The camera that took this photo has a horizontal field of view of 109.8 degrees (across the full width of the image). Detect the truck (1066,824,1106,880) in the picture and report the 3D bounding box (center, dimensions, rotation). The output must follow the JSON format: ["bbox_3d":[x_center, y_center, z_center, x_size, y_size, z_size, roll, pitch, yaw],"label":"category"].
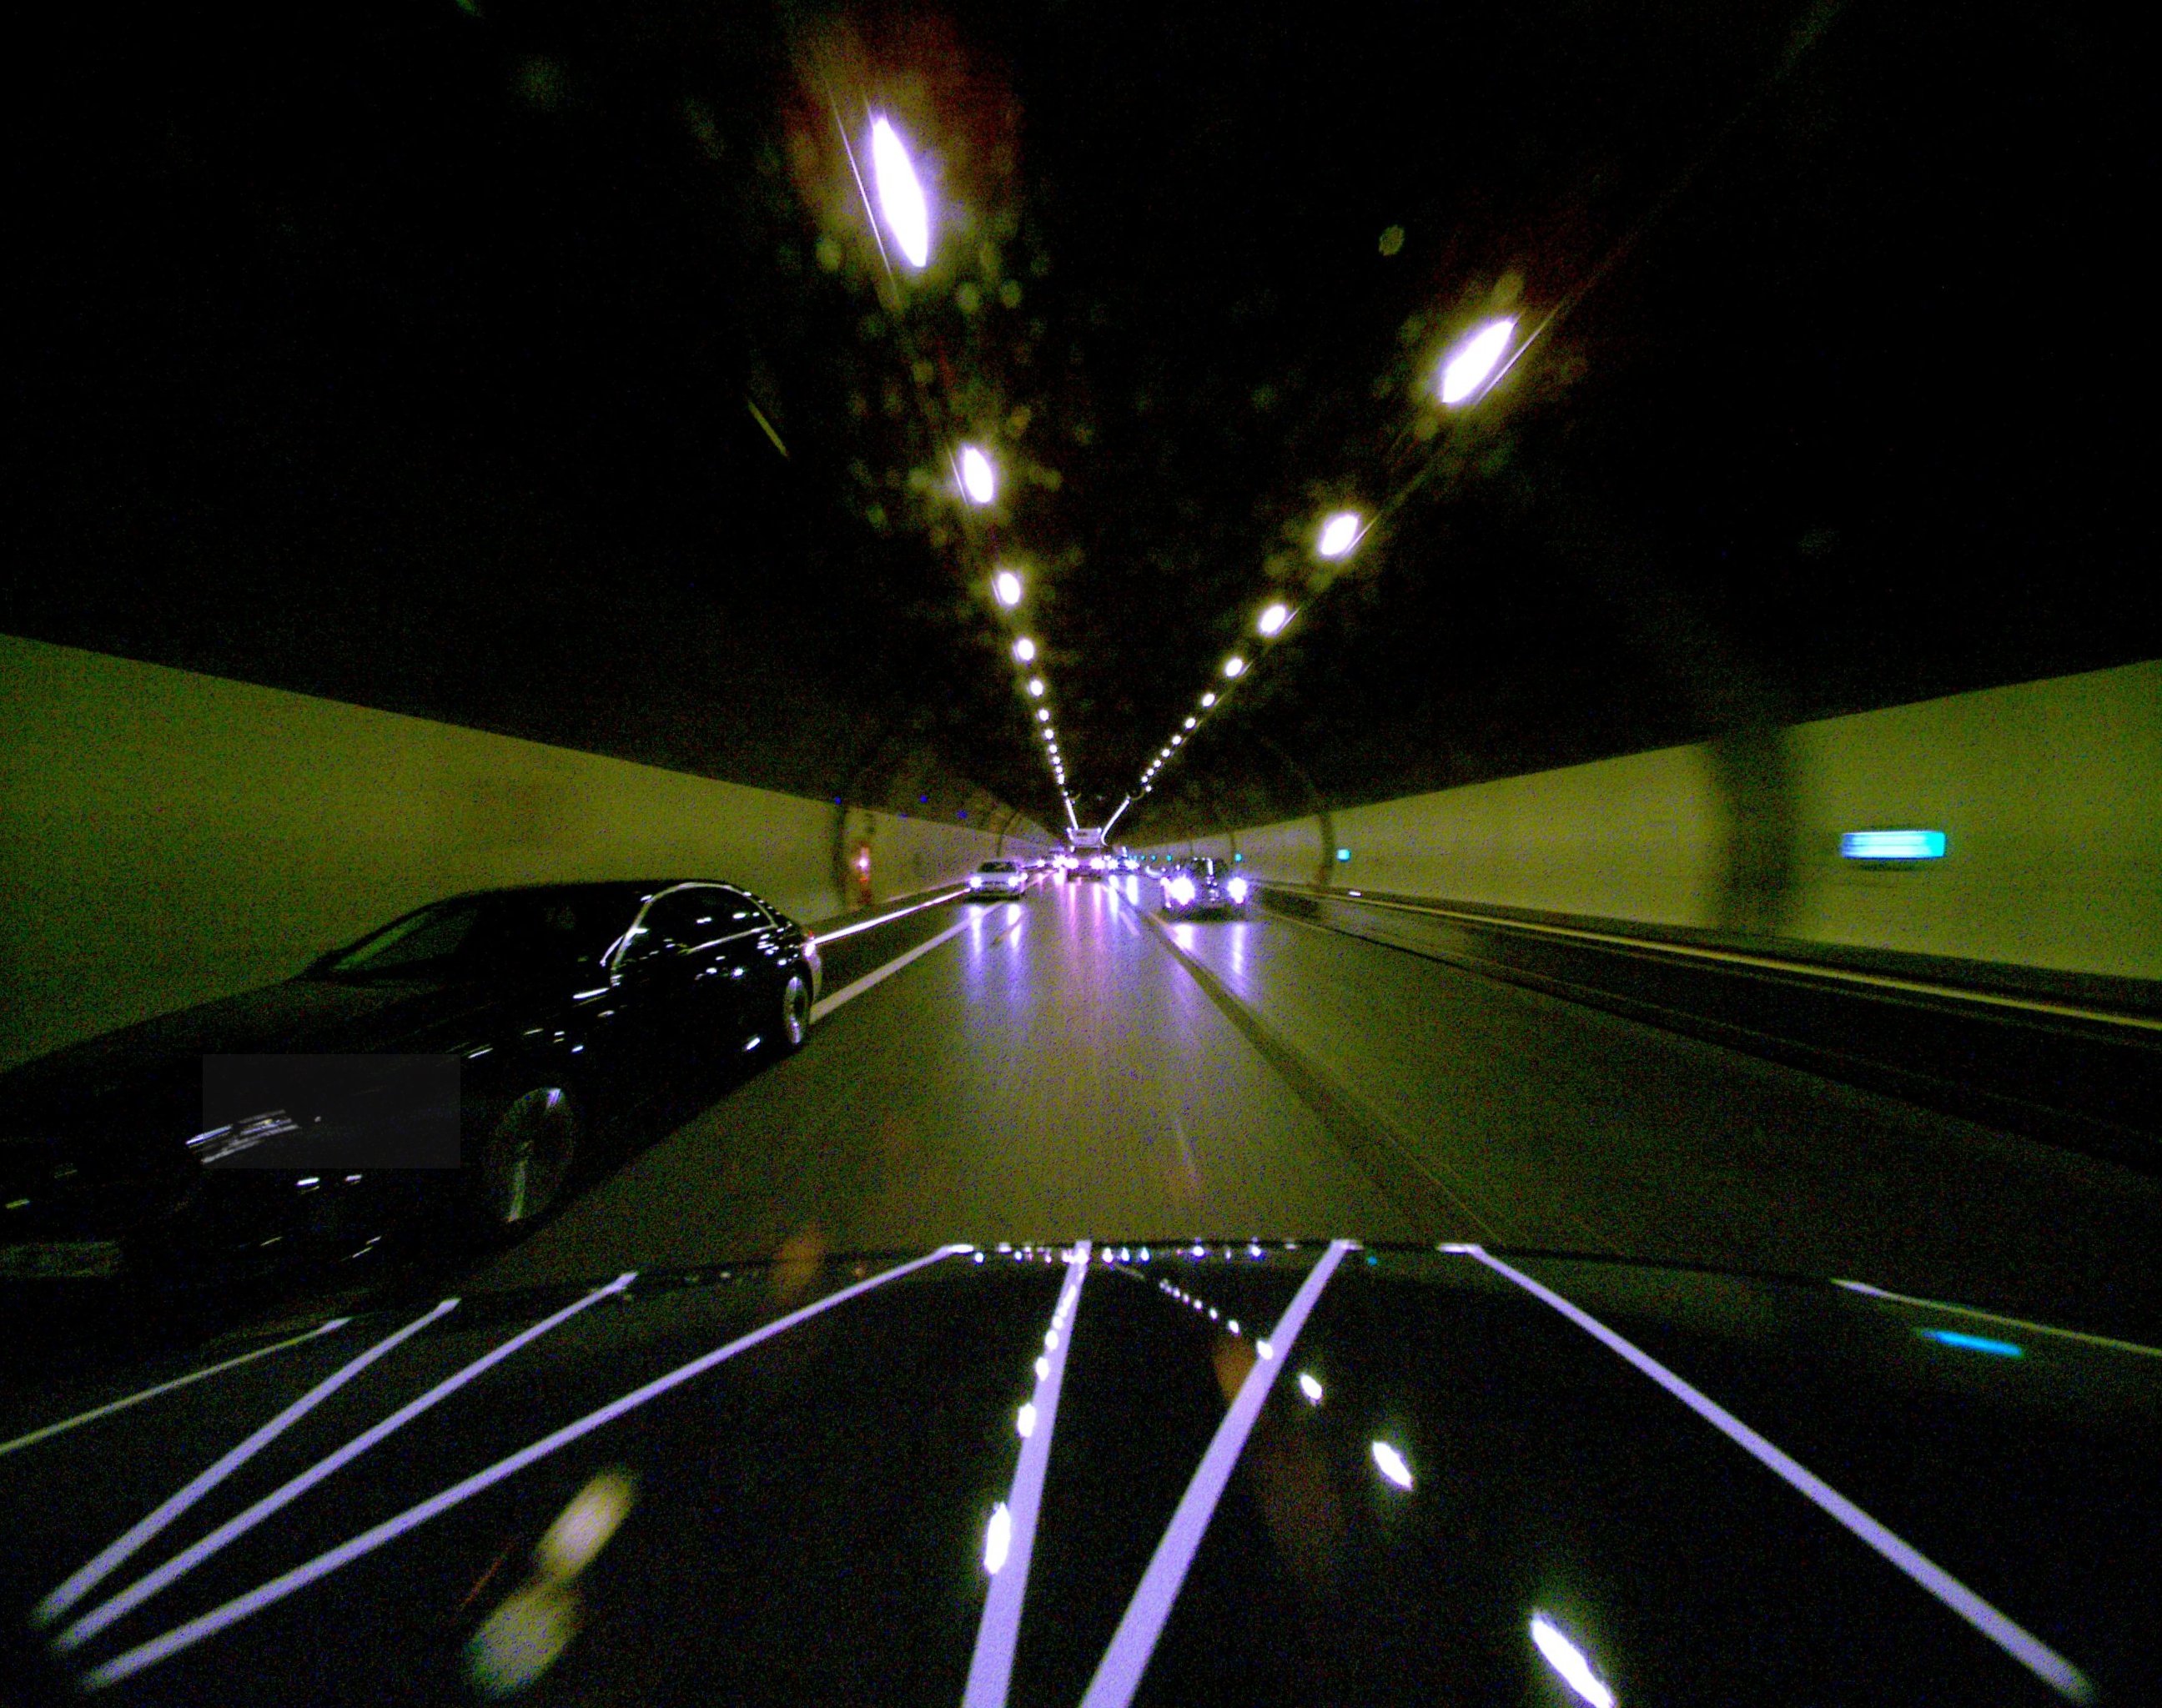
[{"bbox_3d":[0.325,-0.160,47.956,2.262,3.238,7.382,1,0,0],"label":"truck"}]

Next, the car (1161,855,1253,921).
[{"bbox_3d":[2.987,0.756,18.724,1.657,1.395,3.656,-1,0,0],"label":"car"}]

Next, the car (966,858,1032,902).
[{"bbox_3d":[-2.915,0.893,27.917,1.801,1.452,4.035,-1,0,2],"label":"car"}]

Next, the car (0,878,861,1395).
[{"bbox_3d":[-3.201,0.987,4.934,1.930,1.464,4.954,0,0,2],"label":"car"}]

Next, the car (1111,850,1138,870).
[{"bbox_3d":[3.548,0.474,62.603,1.958,1.528,4.757,-2,1,0],"label":"car"}]

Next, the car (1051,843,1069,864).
[{"bbox_3d":[-2.622,-0.092,95.781,2.124,2.629,6.229,0,1,0],"label":"car"}]

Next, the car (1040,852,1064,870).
[{"bbox_3d":[-2.531,0.582,67.638,1.958,1.528,4.757,0,1,0],"label":"car"}]
